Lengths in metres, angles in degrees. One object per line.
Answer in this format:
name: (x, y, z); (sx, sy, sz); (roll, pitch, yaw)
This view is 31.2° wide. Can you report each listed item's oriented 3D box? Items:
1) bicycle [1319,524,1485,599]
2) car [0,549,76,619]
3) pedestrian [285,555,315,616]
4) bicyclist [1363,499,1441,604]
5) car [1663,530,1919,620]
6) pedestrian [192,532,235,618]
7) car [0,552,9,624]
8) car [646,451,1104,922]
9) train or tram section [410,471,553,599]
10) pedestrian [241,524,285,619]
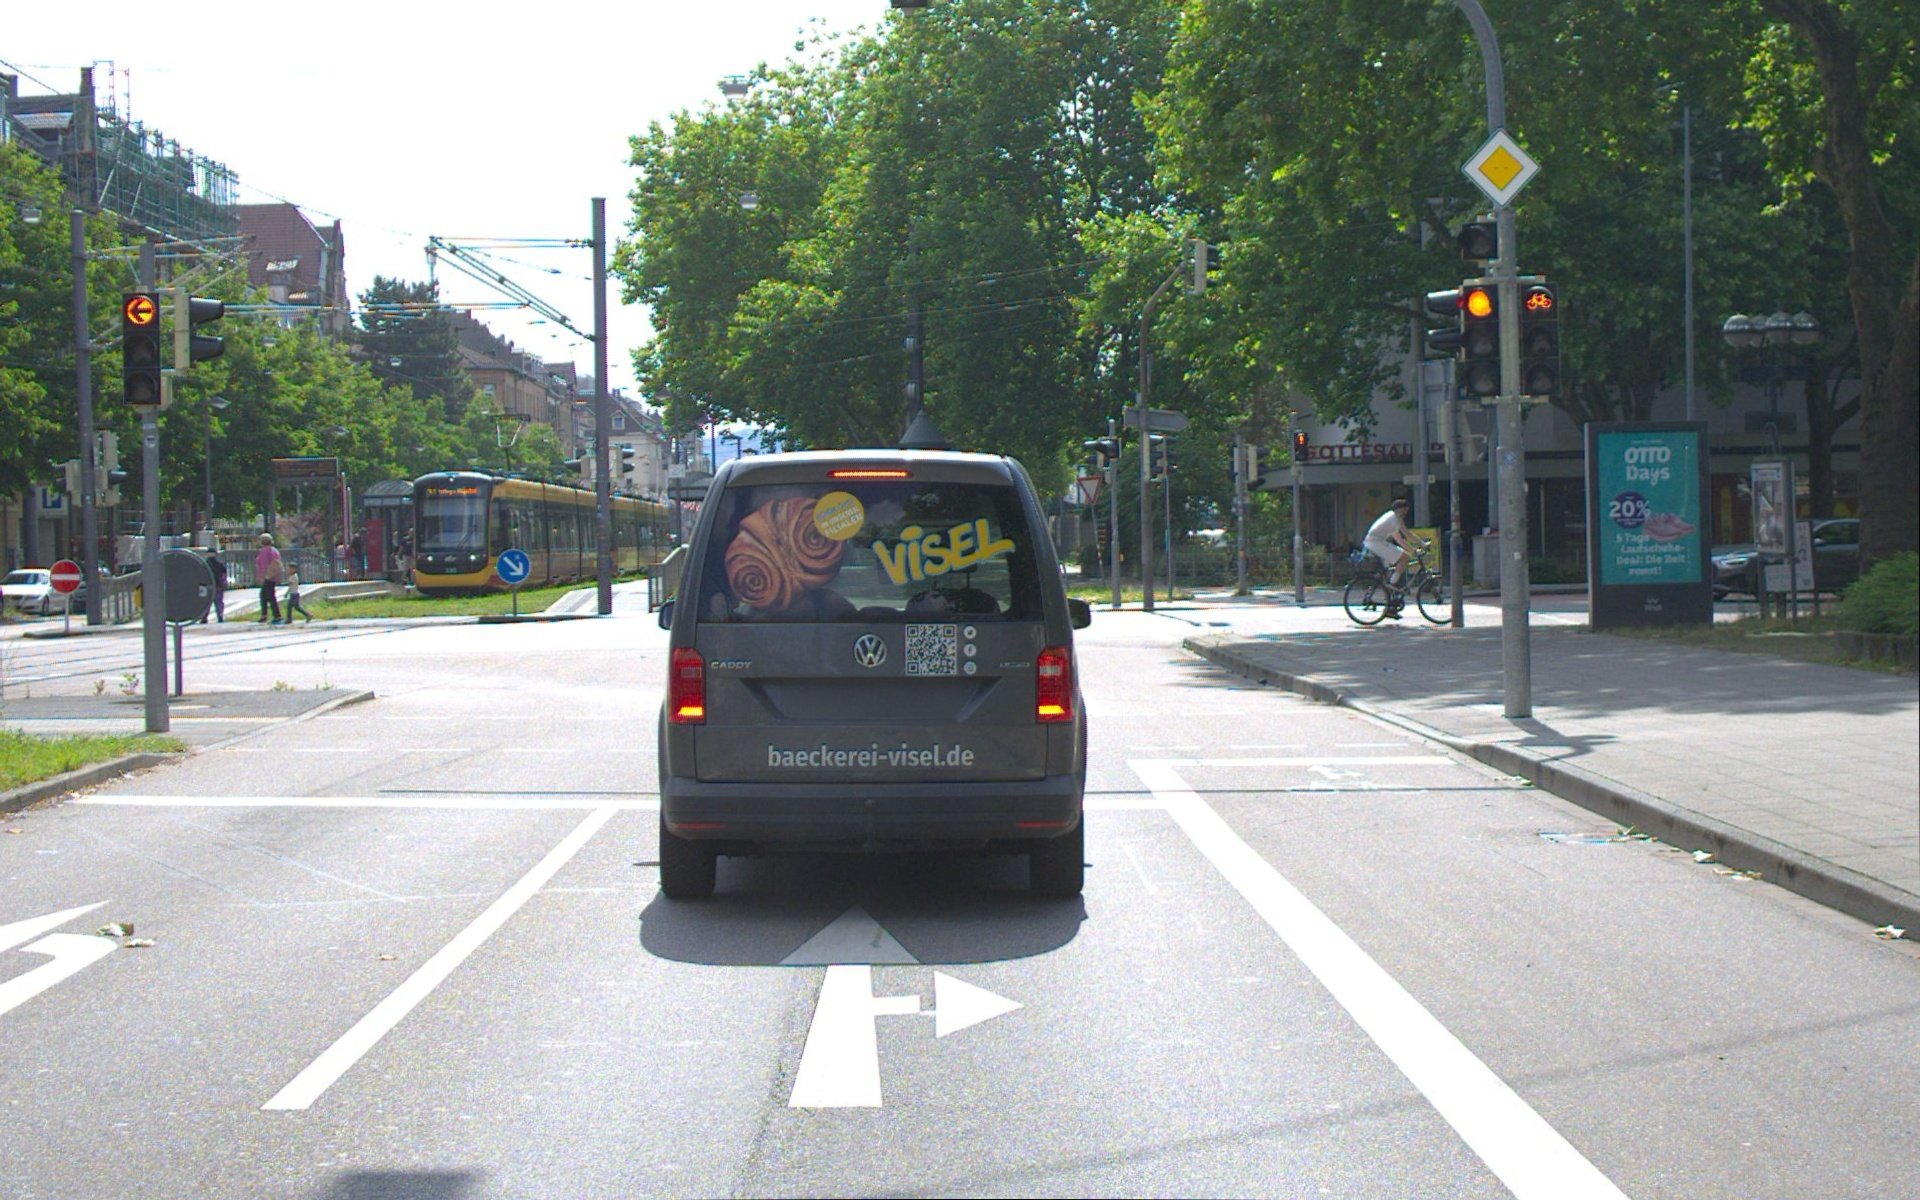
bicycle: (6.531, -0.572, 50.859); (2.301, 1.045, 0.897); (-1, 1, -1)
car: (-28.239, -0.483, 103.904); (1.993, 2.007, 4.000); (-2, 1, -1)
pedestrian: (-12.575, -0.271, 65.509); (0.463, 1.140, 0.435); (-1, 1, 0)
bicyclist: (6.541, -0.721, 50.887); (0.997, 1.506, 0.781); (-1, 1, -1)
car: (14.386, -0.445, 58.711); (4.480, 1.385, 1.707); (-2, 1, -24)
pedestrian: (-14.674, -0.497, 67.582); (0.659, 1.679, 0.655); (-1, 1, 0)
car: (-27.940, -0.278, 95.399); (1.993, 2.007, 4.000); (-2, 1, -1)
car: (-0.339, 0.295, 14.901); (1.750, 1.802, 3.475); (0, 1, 0)
train or tram section: (-13.393, -1.860, 97.239); (2.240, 3.320, 12.972); (-2, 1, 0)
pedestrian: (-13.199, -0.539, 65.136); (0.659, 1.778, 0.660); (-1, 1, 0)
